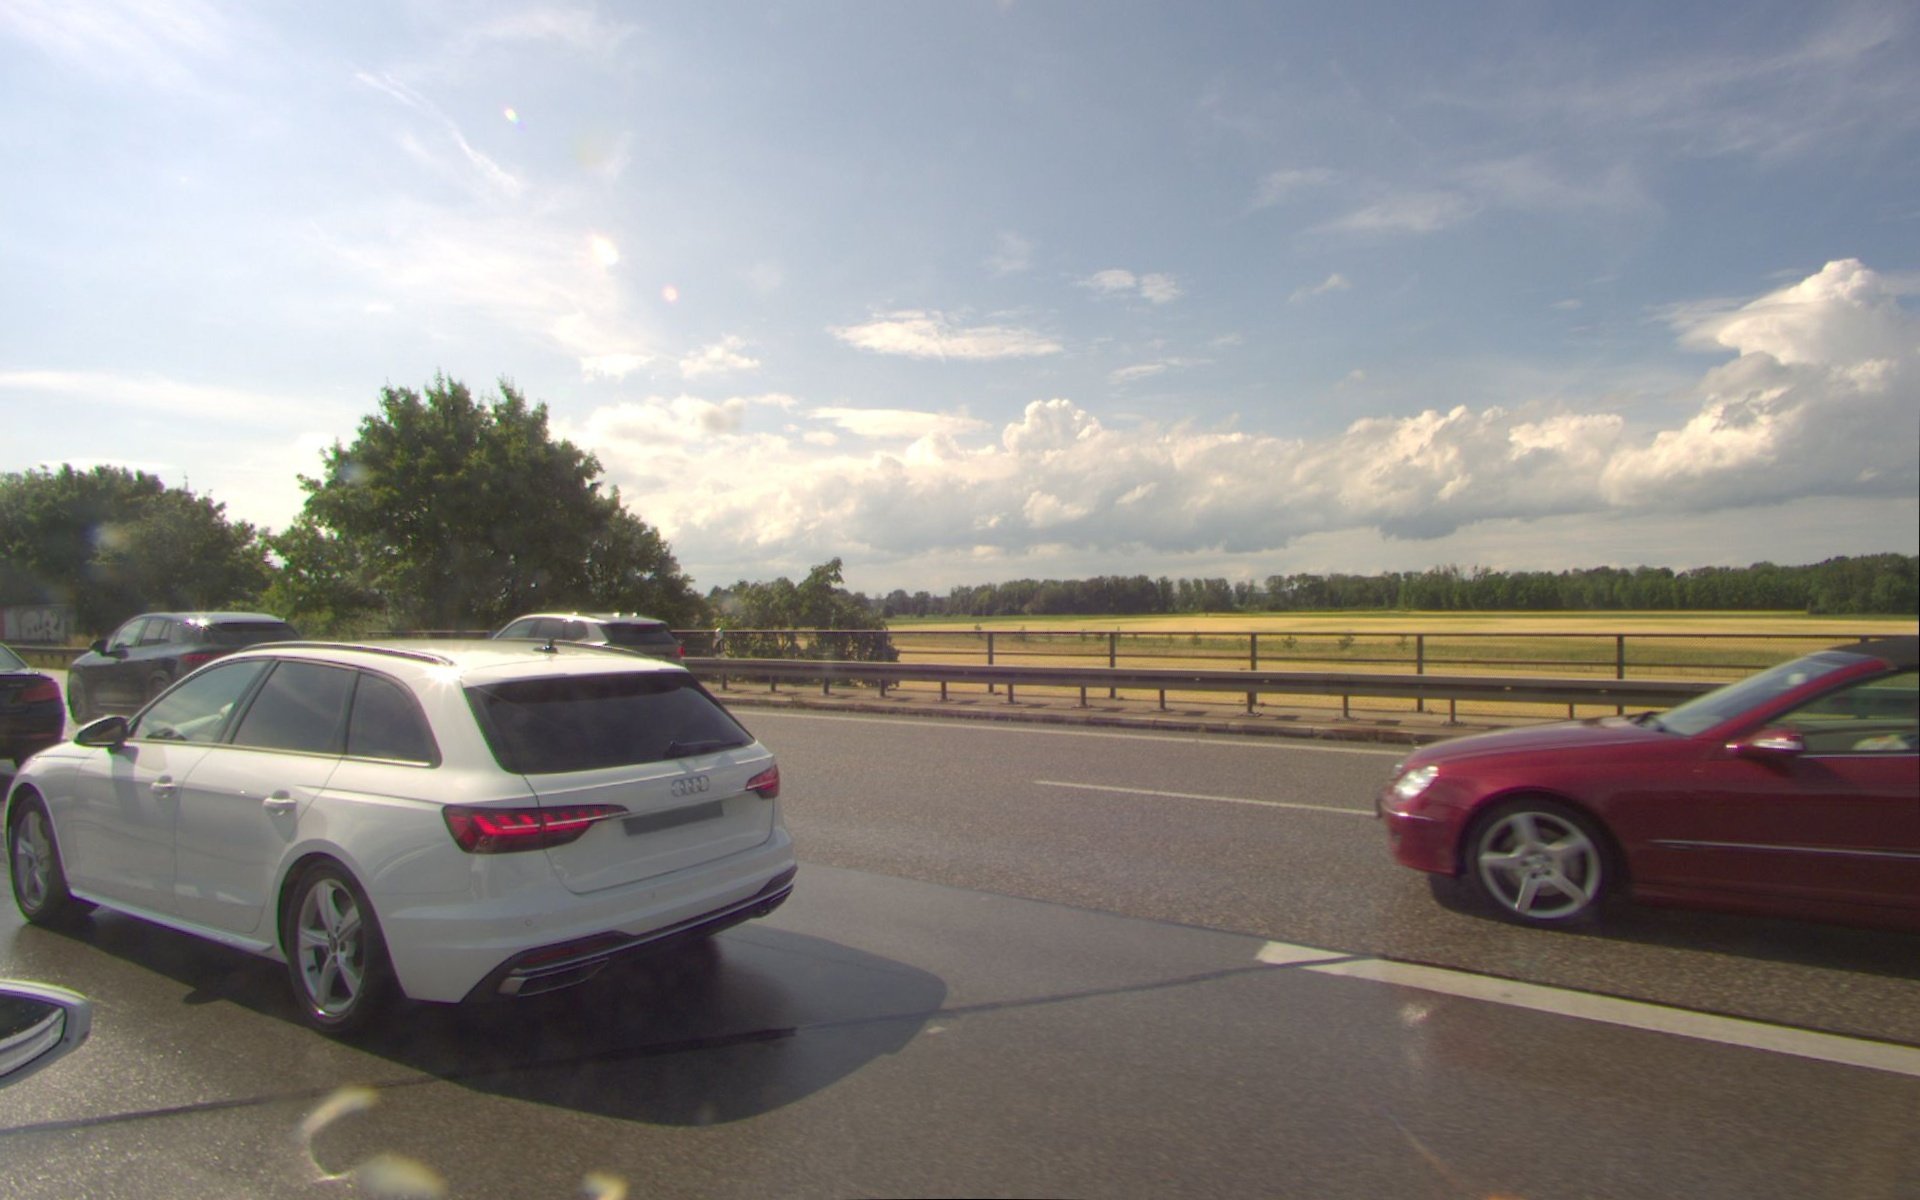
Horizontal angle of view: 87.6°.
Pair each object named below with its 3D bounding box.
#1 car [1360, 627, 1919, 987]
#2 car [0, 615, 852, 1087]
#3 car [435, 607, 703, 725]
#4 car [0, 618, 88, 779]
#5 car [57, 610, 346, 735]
[{"bbox_3d":[4.382,0.845,4.662,4.448,1.428,1.748,-1,-1,33],"label":"car"},{"bbox_3d":[-2.874,0.867,4.996,4.444,1.443,1.825,-2,-3,30],"label":"car"},{"bbox_3d":[-6.152,0.966,15.632,4.225,1.606,1.745,-1,-2,32],"label":"car"},{"bbox_3d":[-10.789,0.947,10.157,4.195,1.483,1.844,-1,0,33],"label":"car"},{"bbox_3d":[-11.428,0.977,15.010,4.587,1.602,1.990,-1,-1,32],"label":"car"}]
